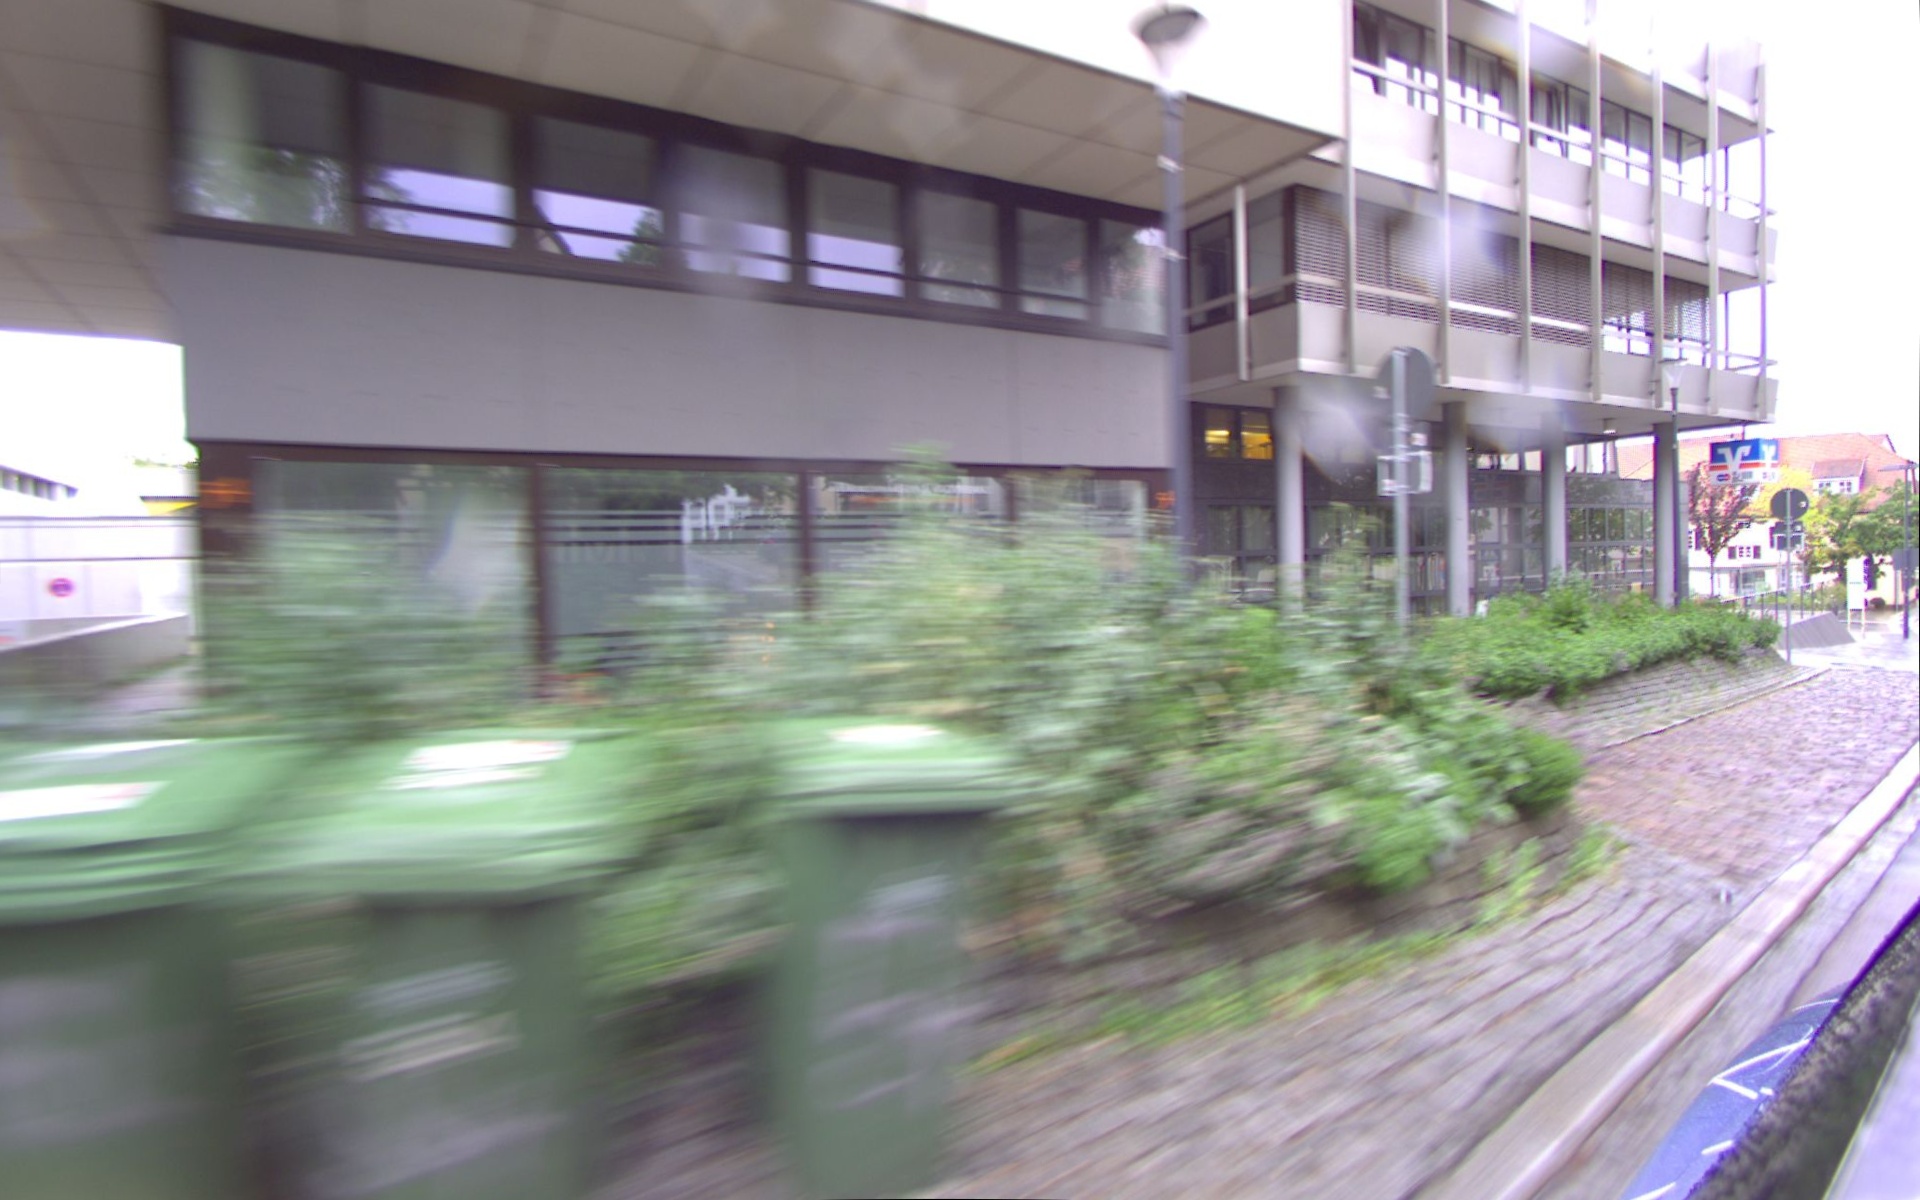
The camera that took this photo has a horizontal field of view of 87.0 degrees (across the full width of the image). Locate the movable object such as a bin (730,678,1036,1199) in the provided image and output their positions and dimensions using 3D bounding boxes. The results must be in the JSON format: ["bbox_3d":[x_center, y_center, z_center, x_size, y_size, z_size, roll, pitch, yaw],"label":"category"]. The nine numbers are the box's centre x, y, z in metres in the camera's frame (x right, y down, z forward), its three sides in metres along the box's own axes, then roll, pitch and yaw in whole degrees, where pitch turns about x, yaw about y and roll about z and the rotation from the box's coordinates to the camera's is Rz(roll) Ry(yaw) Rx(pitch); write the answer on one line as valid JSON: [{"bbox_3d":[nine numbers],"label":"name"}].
[{"bbox_3d":[-0.224,0.814,2.541,0.559,1.138,0.707,-1,2,-24],"label":"movable object such as a bin"}]

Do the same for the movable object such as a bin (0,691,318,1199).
[{"bbox_3d":[-1.663,0.785,1.907,0.559,1.124,0.707,-1,2,-15],"label":"movable object such as a bin"}]

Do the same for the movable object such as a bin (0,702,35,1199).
[{"bbox_3d":[-2.451,0.807,2.006,0.561,1.116,0.705,0,2,3],"label":"movable object such as a bin"}]

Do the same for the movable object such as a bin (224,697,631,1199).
[{"bbox_3d":[-0.998,0.812,2.058,0.559,1.121,0.707,0,2,-13],"label":"movable object such as a bin"}]
